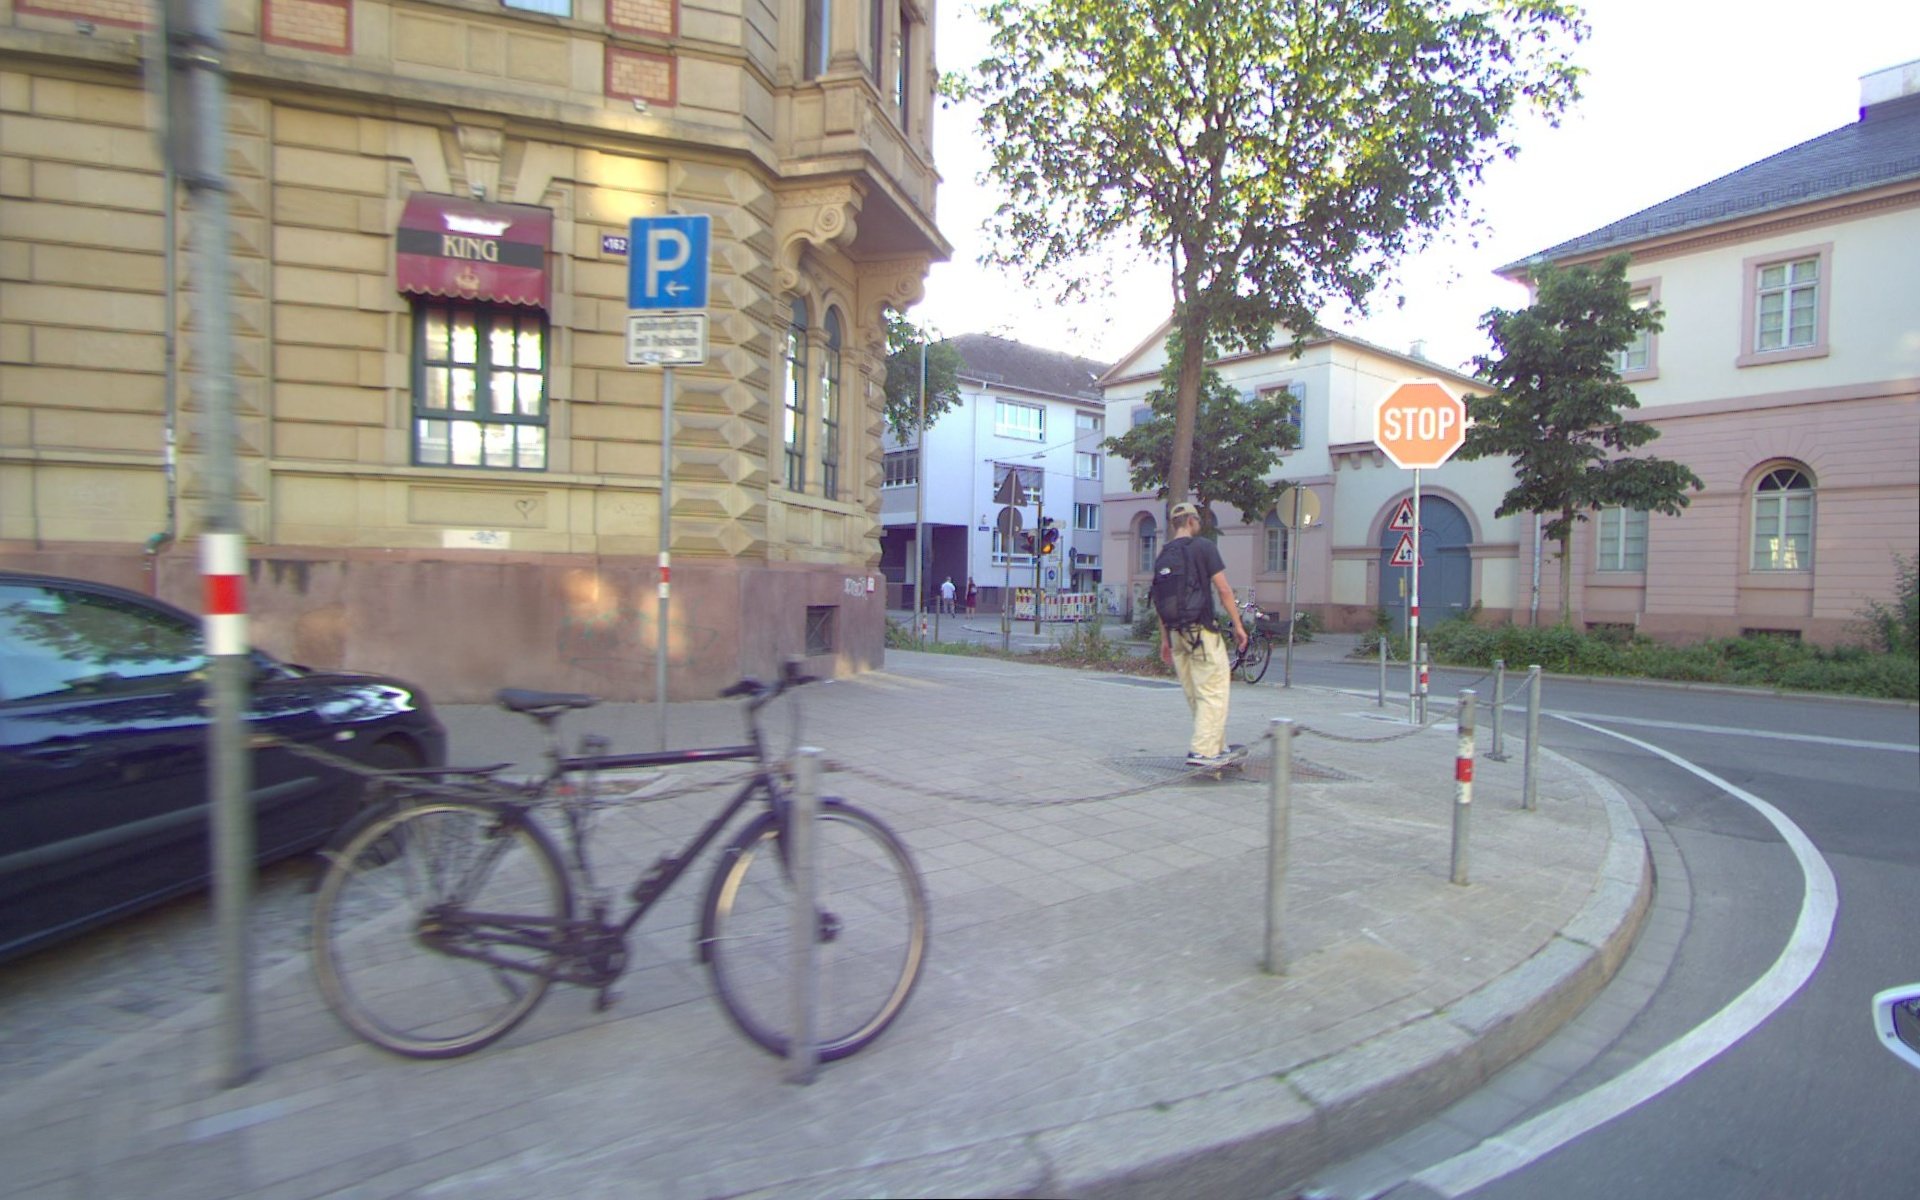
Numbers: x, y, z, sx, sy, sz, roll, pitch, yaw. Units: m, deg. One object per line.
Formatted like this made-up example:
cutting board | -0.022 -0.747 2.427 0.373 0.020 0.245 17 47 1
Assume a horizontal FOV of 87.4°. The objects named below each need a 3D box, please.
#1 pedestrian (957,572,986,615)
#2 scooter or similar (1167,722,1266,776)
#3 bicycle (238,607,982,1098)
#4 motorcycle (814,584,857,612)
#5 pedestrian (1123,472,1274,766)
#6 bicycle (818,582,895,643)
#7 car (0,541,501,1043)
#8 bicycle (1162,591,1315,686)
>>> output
pedestrian | 0.486 -0.264 41.973 0.923 1.775 0.764 1 1 -33
scooter or similar | 1.763 1.005 6.858 0.411 0.210 0.880 3 2 32
bicycle | -0.881 0.633 2.879 1.770 1.141 0.727 1 4 -8
motorcycle | -5.420 -0.086 43.853 1.784 1.215 0.608 0 1 -30
pedestrian | 1.624 0.075 6.738 0.834 1.763 1.266 3 4 17
bicycle | -2.156 0.244 20.704 0.507 1.169 2.078 2 0 -38
car | -3.597 0.530 3.621 1.705 1.481 3.864 1 3 8
bicycle | 4.160 0.525 15.280 0.834 1.284 2.558 0 1 -23
